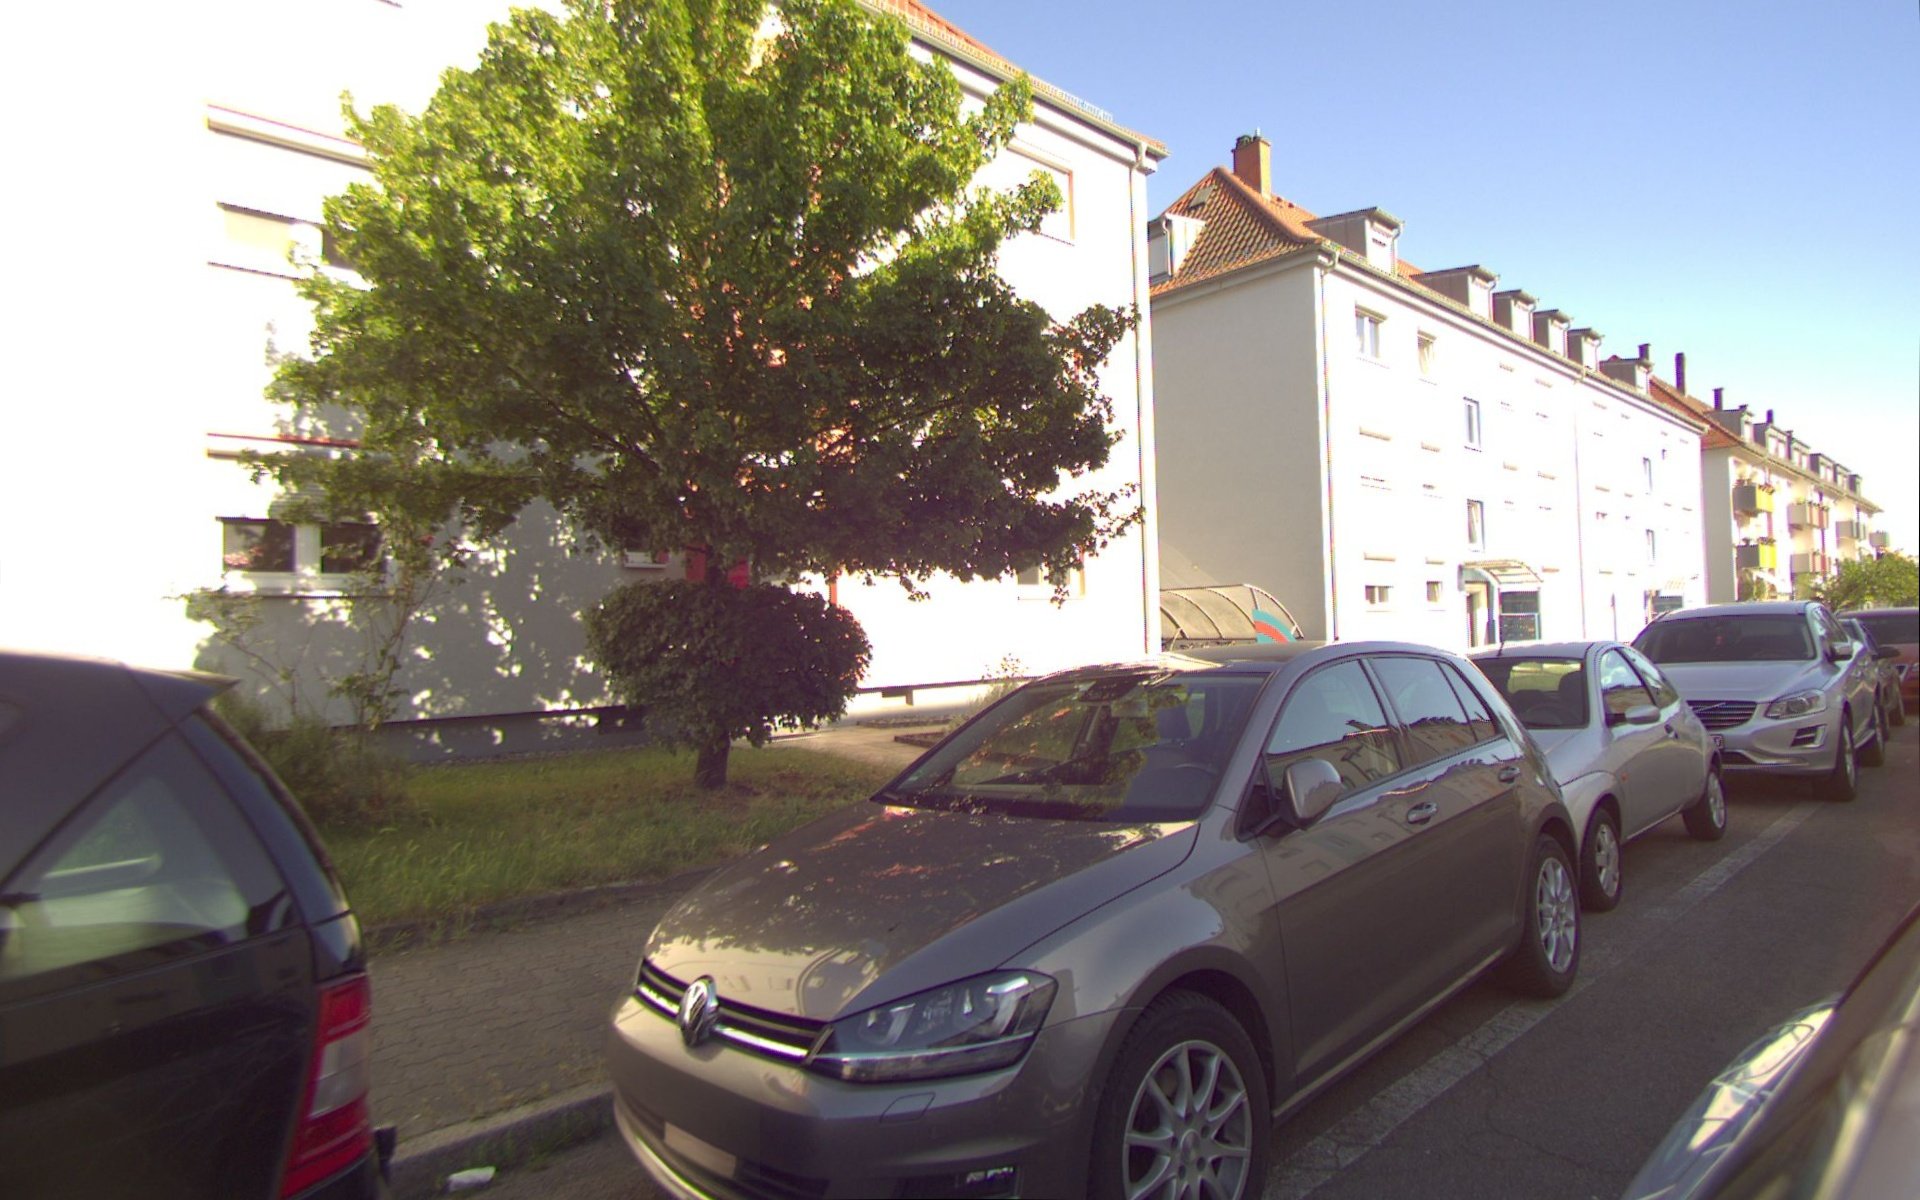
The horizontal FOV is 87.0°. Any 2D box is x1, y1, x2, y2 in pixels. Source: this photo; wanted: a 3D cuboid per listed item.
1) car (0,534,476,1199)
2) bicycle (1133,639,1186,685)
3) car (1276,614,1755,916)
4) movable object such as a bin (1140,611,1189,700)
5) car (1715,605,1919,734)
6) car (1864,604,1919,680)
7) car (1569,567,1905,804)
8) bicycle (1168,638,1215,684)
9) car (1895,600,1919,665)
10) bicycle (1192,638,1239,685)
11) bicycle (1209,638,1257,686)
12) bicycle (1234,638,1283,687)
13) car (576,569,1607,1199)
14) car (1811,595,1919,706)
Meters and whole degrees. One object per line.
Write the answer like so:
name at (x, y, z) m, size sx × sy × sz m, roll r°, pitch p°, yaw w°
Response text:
car at (-2.558, 0.747, 0.864) m, size 1.617 × 1.571 × 3.553 m, roll -5°, pitch -3°, yaw 44°
bicycle at (4.570, 1.404, 23.121) m, size 1.481 × 0.958 × 0.319 m, roll 0°, pitch -1°, yaw -40°
car at (3.746, 0.828, 6.615) m, size 3.428 × 1.412 × 1.631 m, roll 0°, pitch -2°, yaw -41°
movable object such as a bin at (3.738, 1.004, 18.524) m, size 0.613 × 1.572 × 0.595 m, roll 0°, pitch -3°, yaw -40°
car at (11.537, 0.860, 13.453) m, size 3.791 × 1.468 × 1.618 m, roll 0°, pitch -5°, yaw -42°
car at (21.371, 0.860, 22.239) m, size 3.809 × 1.545 × 1.706 m, roll 0°, pitch -4°, yaw -42°
car at (7.474, 0.696, 9.573) m, size 4.235 × 1.742 × 1.776 m, roll 0°, pitch -5°, yaw -44°
bicycle at (5.176, 1.352, 22.567) m, size 1.260 × 0.958 × 0.319 m, roll 0°, pitch -1°, yaw -40°
car at (25.060, 0.774, 25.561) m, size 3.809 × 1.591 × 1.706 m, roll 0°, pitch -2°, yaw -42°
bicycle at (5.614, 1.346, 22.227) m, size 1.260 × 0.958 × 0.319 m, roll 0°, pitch -1°, yaw -40°
bicycle at (5.876, 1.318, 21.794) m, size 1.260 × 0.958 × 0.319 m, roll 0°, pitch -1°, yaw -40°
bicycle at (6.272, 1.301, 21.219) m, size 1.260 × 0.958 × 0.319 m, roll 0°, pitch -1°, yaw -40°
car at (0.851, 0.786, 3.694) m, size 3.887 × 1.470 × 1.628 m, roll 1°, pitch -7°, yaw -45°
car at (15.562, 0.755, 16.646) m, size 4.347 × 1.627 × 1.729 m, roll 0°, pitch -2°, yaw -42°
